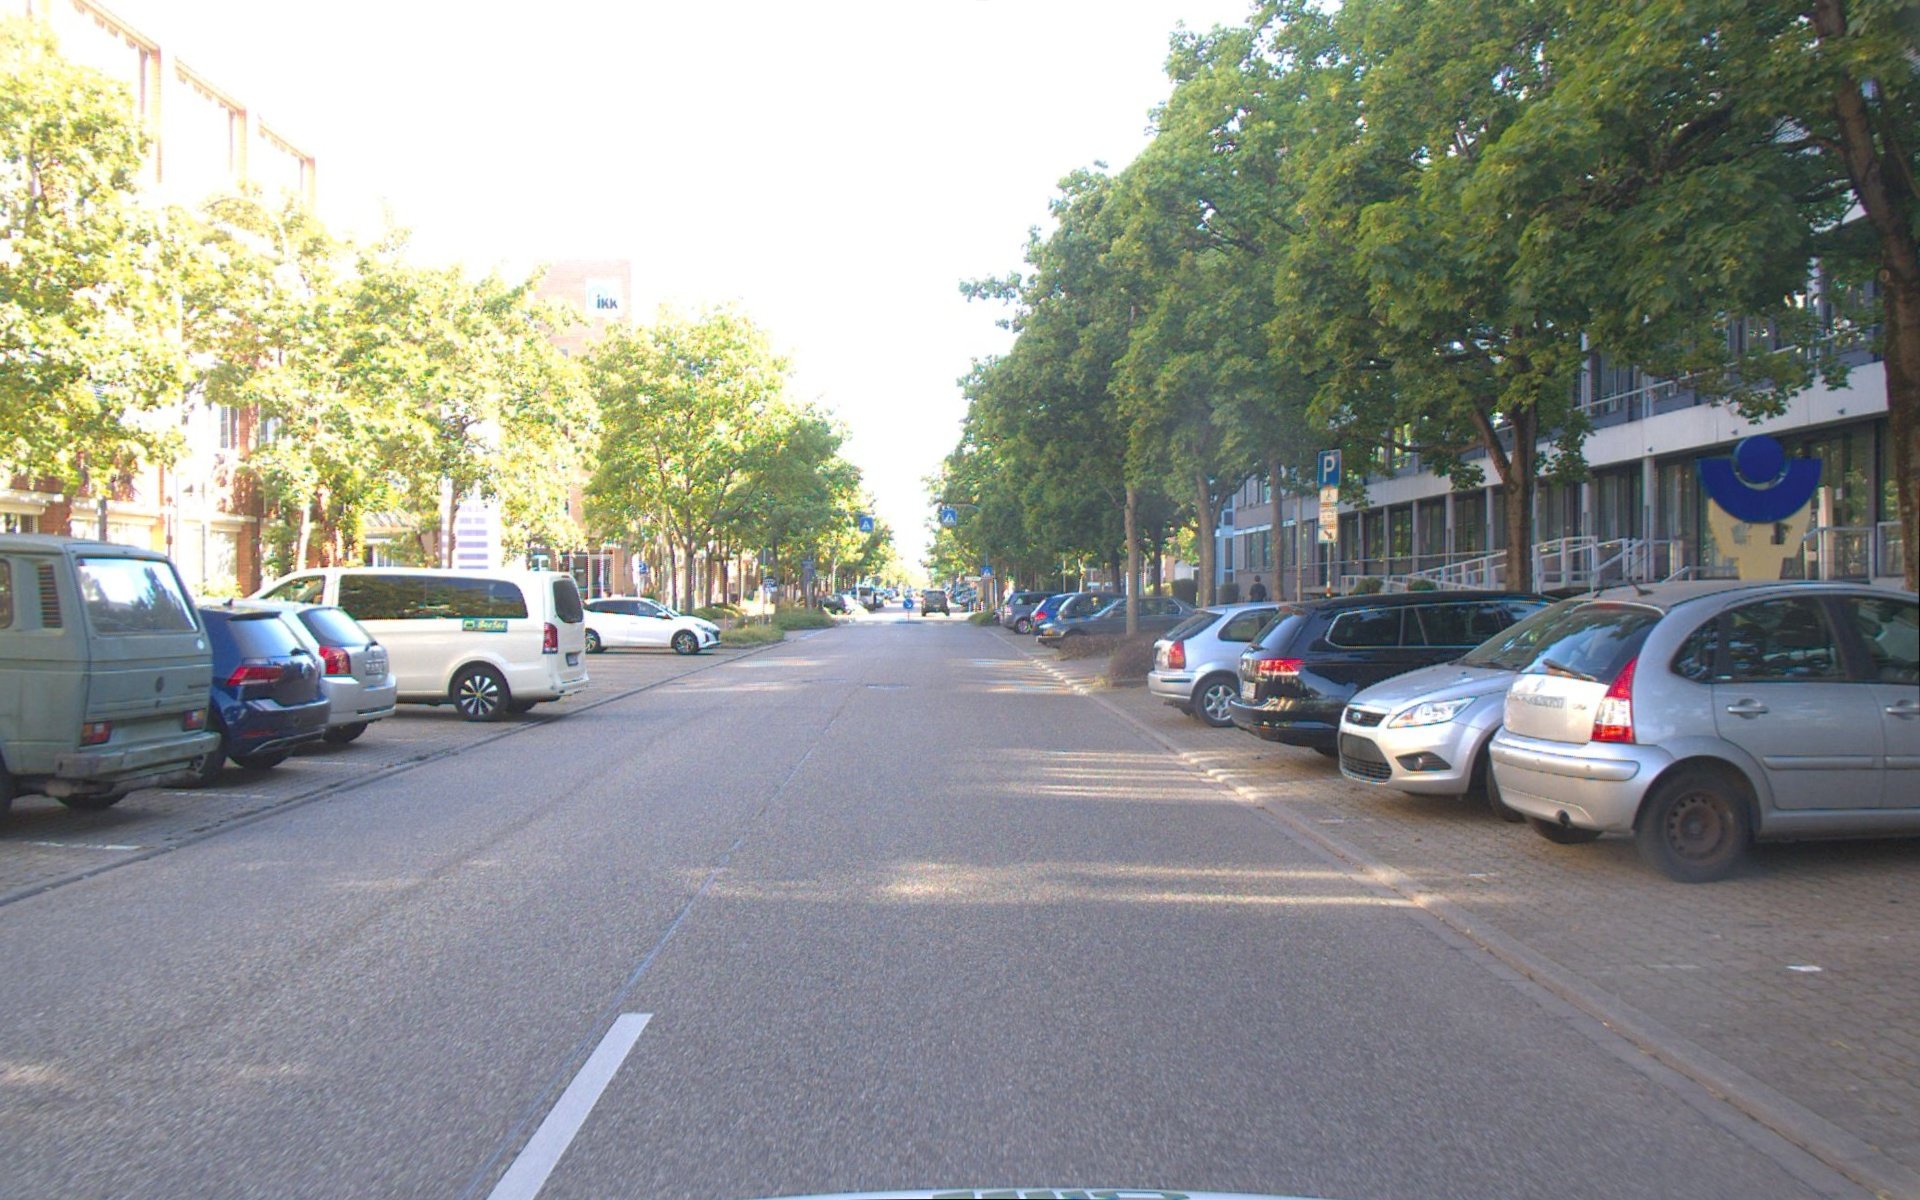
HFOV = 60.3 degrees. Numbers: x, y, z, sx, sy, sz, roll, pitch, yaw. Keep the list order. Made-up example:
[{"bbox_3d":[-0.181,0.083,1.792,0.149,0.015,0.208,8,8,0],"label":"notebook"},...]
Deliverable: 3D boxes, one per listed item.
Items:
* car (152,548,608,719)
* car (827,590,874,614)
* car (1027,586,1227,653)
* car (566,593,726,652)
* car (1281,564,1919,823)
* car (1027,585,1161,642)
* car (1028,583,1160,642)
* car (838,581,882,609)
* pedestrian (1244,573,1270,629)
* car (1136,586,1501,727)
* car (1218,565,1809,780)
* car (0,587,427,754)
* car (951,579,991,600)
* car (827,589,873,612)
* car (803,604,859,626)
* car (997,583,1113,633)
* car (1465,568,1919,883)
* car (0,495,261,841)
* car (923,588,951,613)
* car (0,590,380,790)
[{"bbox_3d":[-7.348,0.415,21.364,5.151,2.001,1.942,1,0,-1],"label":"car"},{"bbox_3d":[-9.621,0.148,145.806,3.903,2.049,2.001,-1,0,3],"label":"car"},{"bbox_3d":[4.152,0.473,41.589,4.729,1.444,2.031,-2,0,-3],"label":"car"},{"bbox_3d":[-8.260,0.584,43.730,3.907,1.512,1.806,0,0,-2],"label":"car"},{"bbox_3d":[4.616,0.589,11.747,4.200,1.519,2.003,-2,0,-3],"label":"car"},{"bbox_3d":[4.012,0.402,50.088,3.868,1.541,1.813,-2,0,0],"label":"car"},{"bbox_3d":[3.819,0.353,47.474,3.567,1.541,1.812,-2,0,-1],"label":"car"},{"bbox_3d":[-9.267,-0.439,153.880,3.903,2.586,1.863,1,0,3],"label":"car"},{"bbox_3d":[9.540,0.022,53.121,0.595,1.776,1.191,-1,0,-1],"label":"pedestrian"},{"bbox_3d":[4.169,0.641,19.633,3.891,1.444,1.709,-2,0,-3],"label":"car"},{"bbox_3d":[4.675,0.589,14.411,4.498,1.519,1.762,-3,0,-1],"label":"car"},{"bbox_3d":[-7.845,0.663,16.712,4.231,1.503,1.943,1,0,1],"label":"car"},{"bbox_3d":[1.106,-1.086,167.163,3.907,2.049,1.999,-1,0,-3],"label":"car"},{"bbox_3d":[-9.882,0.025,148.999,3.903,2.049,2.001,-1,0,3],"label":"car"},{"bbox_3d":[-9.248,1.087,118.522,3.780,1.499,1.807,1,0,-12],"label":"car"},{"bbox_3d":[3.673,0.302,64.227,4.265,1.733,1.811,-2,0,-4],"label":"car"},{"bbox_3d":[4.962,0.605,9.336,3.670,1.519,1.615,-2,0,-5],"label":"car"},{"bbox_3d":[-7.448,0.374,11.311,4.395,2.126,2.083,1,0,1],"label":"car"},{"bbox_3d":[-1.653,0.038,117.826,1.953,1.668,3.999,1,0,-1],"label":"car"},{"bbox_3d":[-7.394,0.690,13.996,4.231,1.503,1.943,1,0,1],"label":"car"}]
